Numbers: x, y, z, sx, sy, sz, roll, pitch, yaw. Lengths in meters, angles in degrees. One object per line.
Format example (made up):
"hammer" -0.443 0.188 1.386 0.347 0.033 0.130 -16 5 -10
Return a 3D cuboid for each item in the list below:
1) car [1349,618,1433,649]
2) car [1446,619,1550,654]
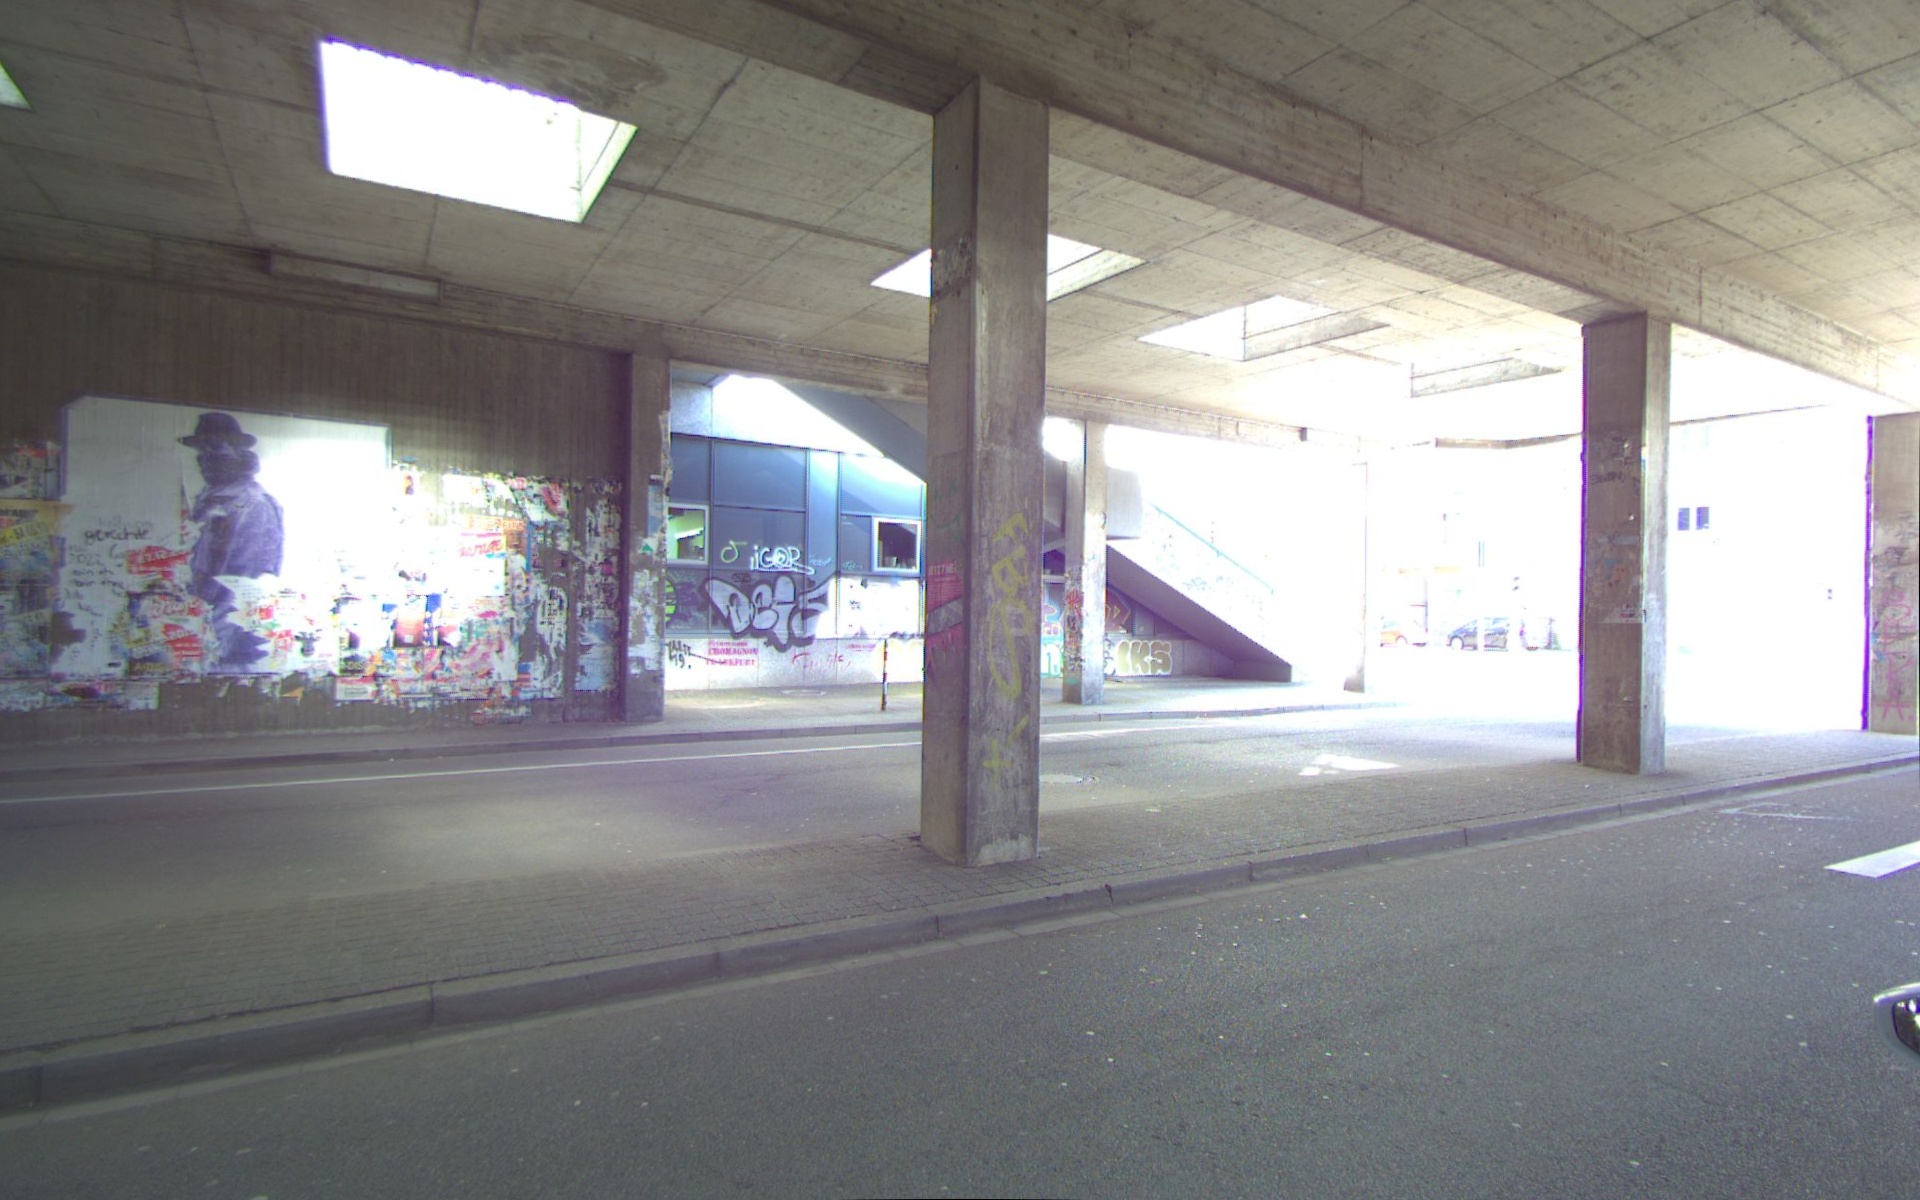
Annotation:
"car" 22.546 1.733 52.602 1.730 1.495 3.741 2 -1 -31
"car" 25.459 1.714 47.647 1.718 1.495 4.089 2 -1 -31
